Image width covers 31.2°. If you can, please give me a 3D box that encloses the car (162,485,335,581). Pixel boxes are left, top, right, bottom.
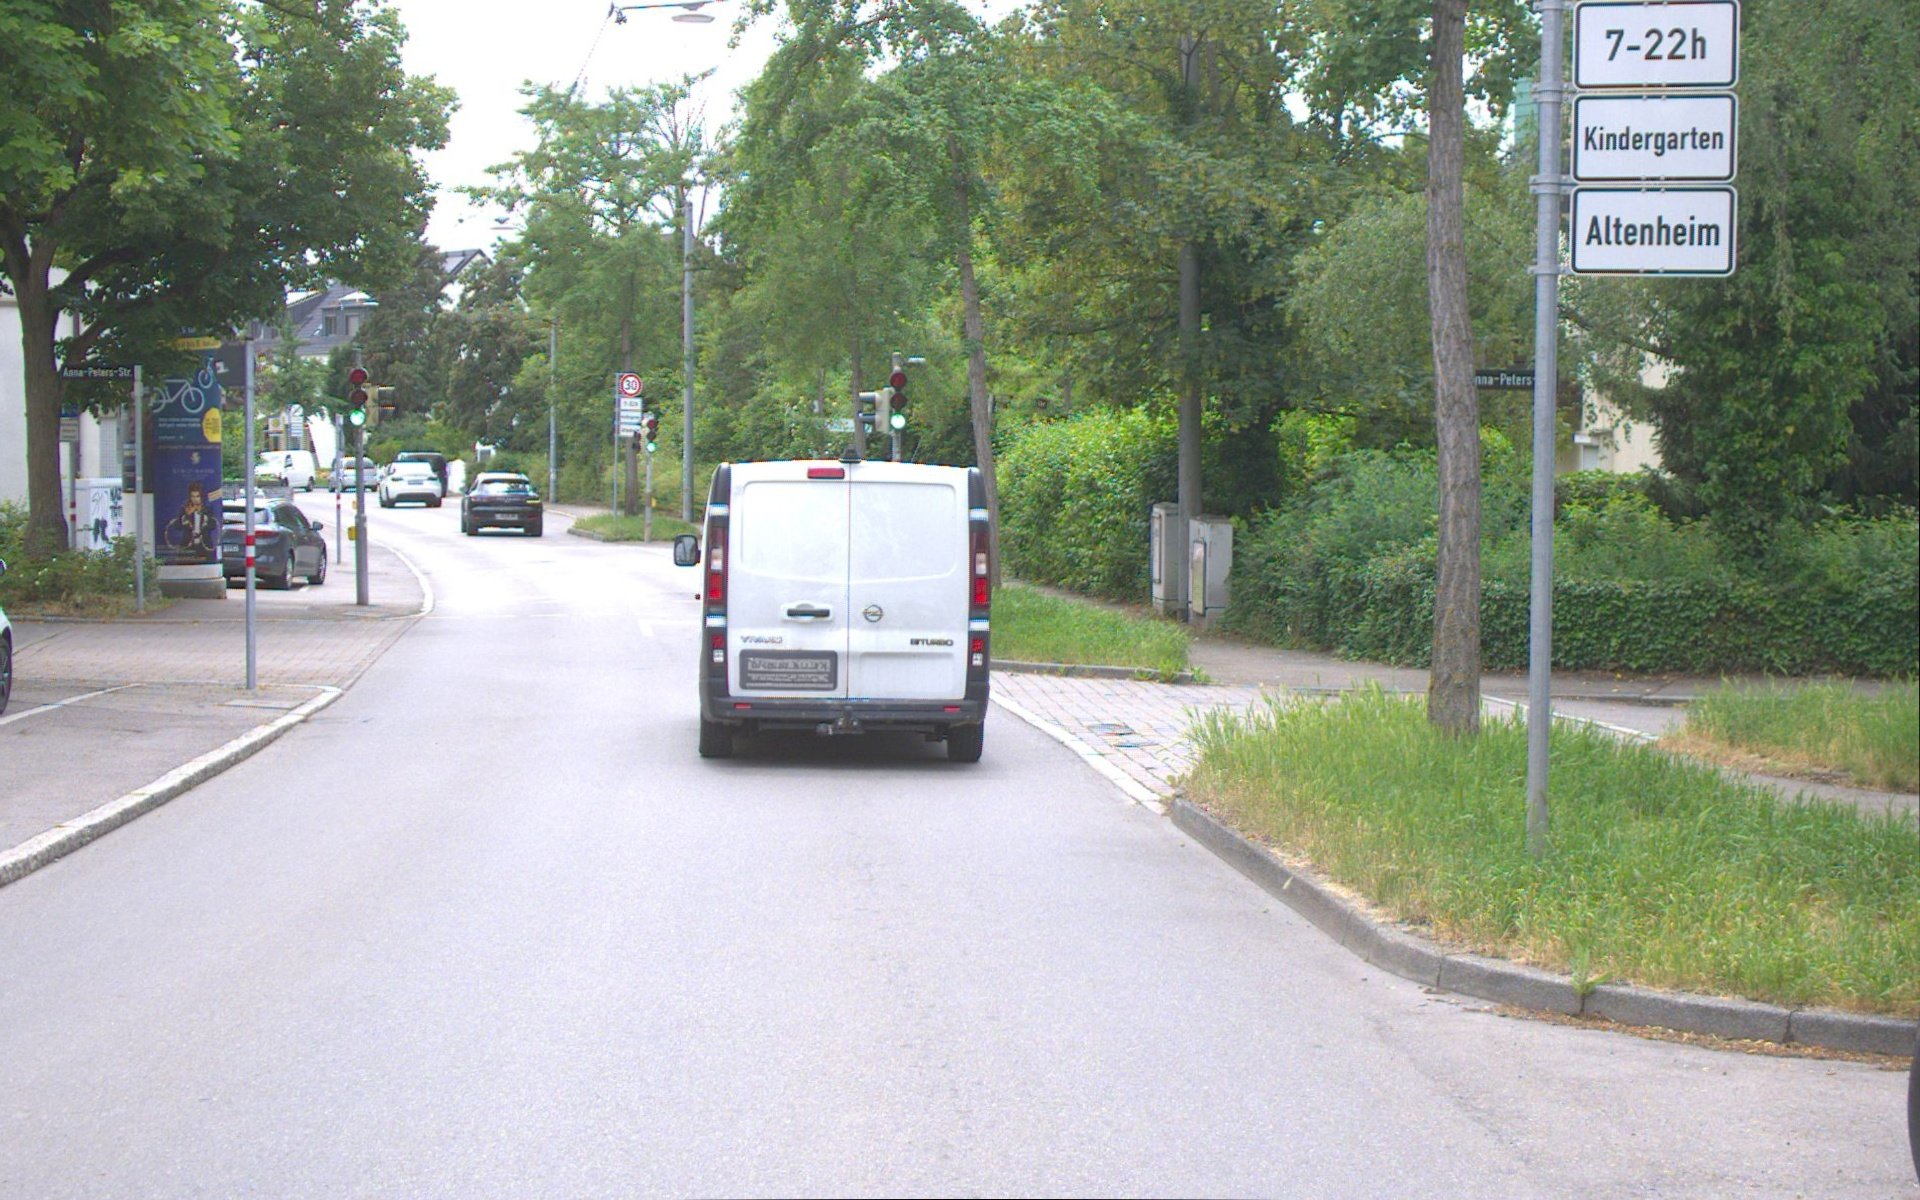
[{"bbox_3d":[-11.557,-1.104,56.108,1.779,1.436,4.525,2,1,1],"label":"car"}]

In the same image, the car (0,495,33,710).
[{"bbox_3d":[-7.610,0.010,23.880,1.588,1.533,2.924,3,2,-2],"label":"car"}]

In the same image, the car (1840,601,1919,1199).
[{"bbox_3d":[3.013,0.777,6.246,1.709,1.408,3.791,2,1,-2],"label":"car"}]

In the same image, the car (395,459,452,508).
[{"bbox_3d":[-19.323,-4.202,123.654,1.824,1.722,4.002,1,2,-11],"label":"car"}]

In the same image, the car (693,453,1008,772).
[{"bbox_3d":[-0.838,0.006,23.604,1.929,1.957,4.403,1,2,-4],"label":"car"}]

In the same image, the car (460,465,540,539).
[{"bbox_3d":[-12.049,-2.568,89.834,1.896,1.853,4.406,1,2,-9],"label":"car"}]

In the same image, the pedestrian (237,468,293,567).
[{"bbox_3d":[-12.589,-1.495,62.258,0.882,1.744,0.964,2,1,-13],"label":"pedestrian"}]

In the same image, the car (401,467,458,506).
[{"bbox_3d":[-22.185,-4.753,143.674,1.893,1.605,4.502,1,2,-15],"label":"car"}]
